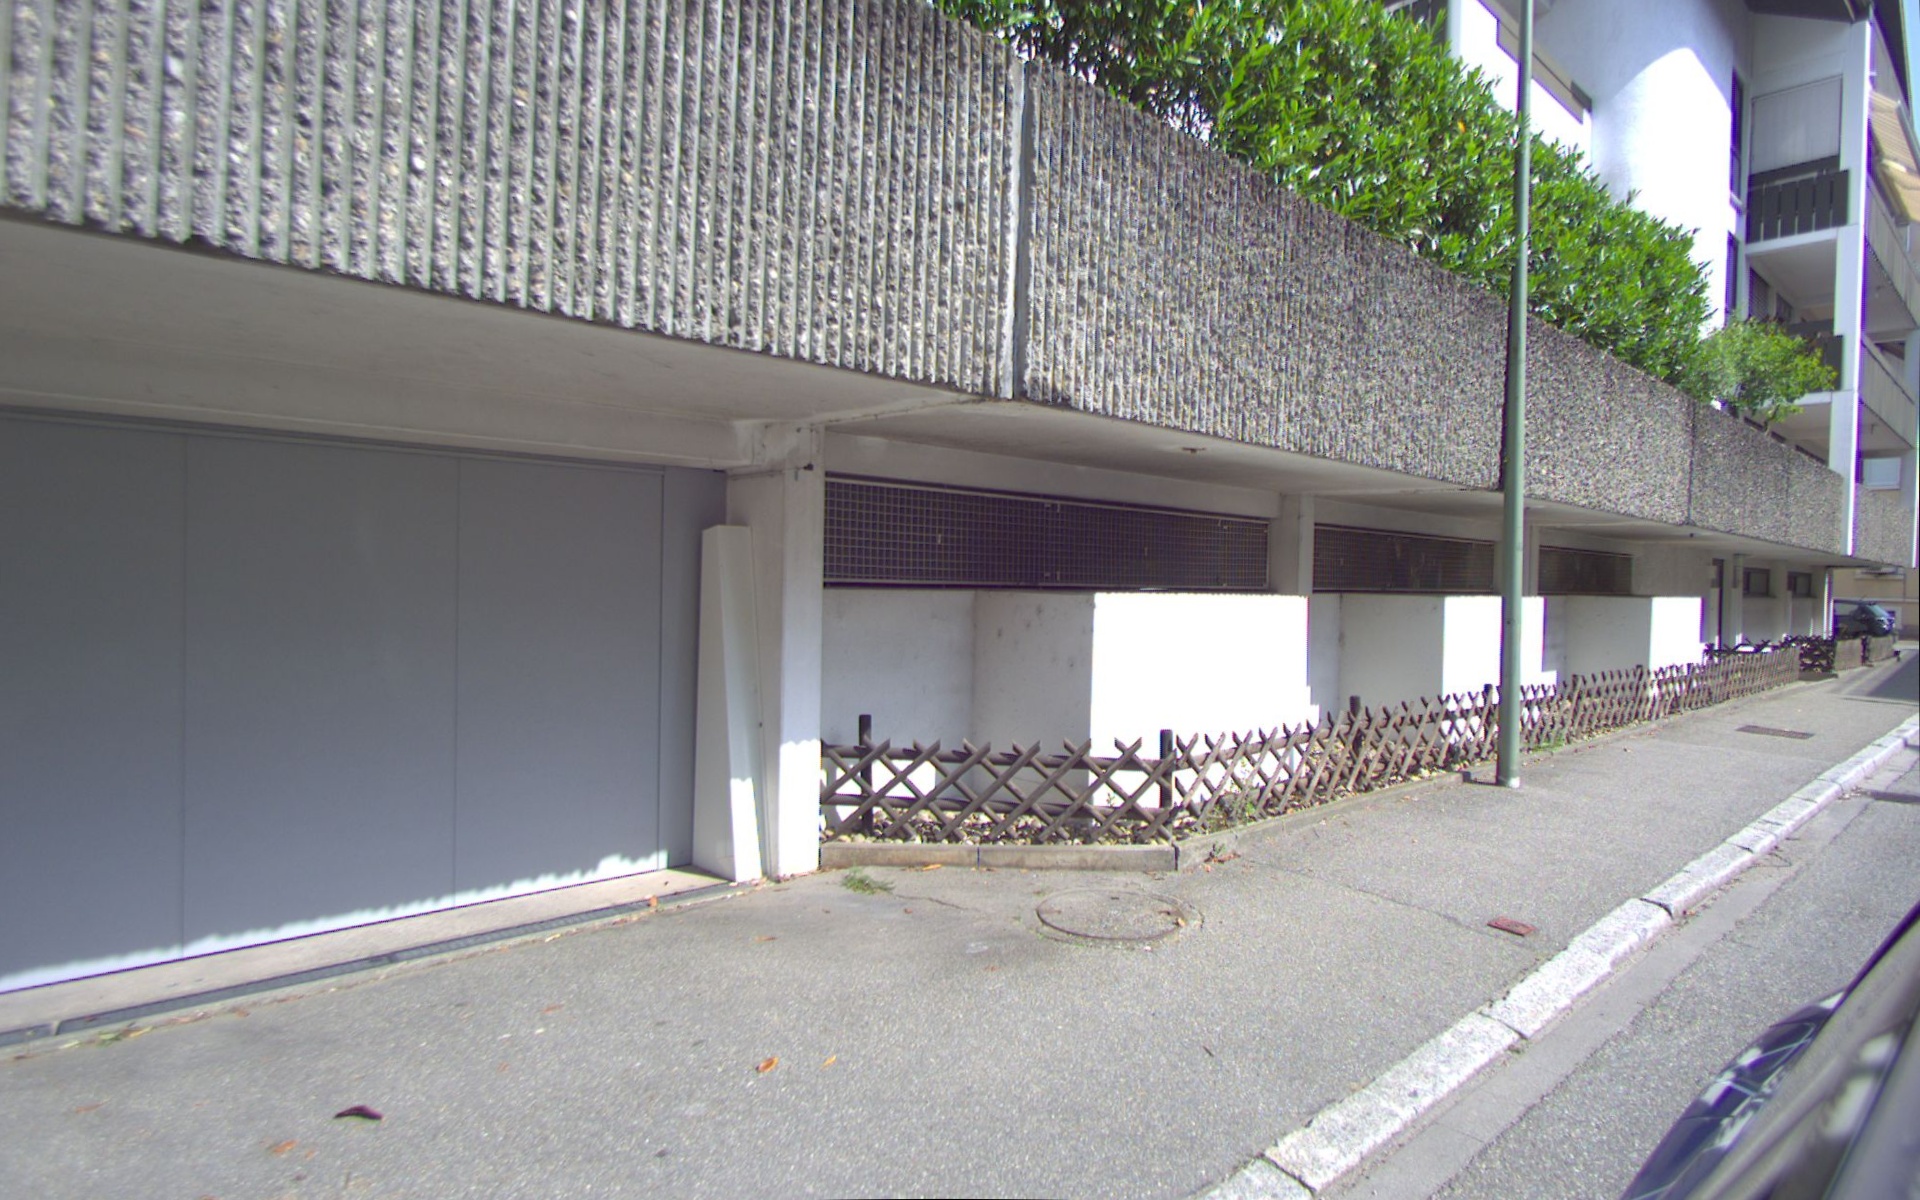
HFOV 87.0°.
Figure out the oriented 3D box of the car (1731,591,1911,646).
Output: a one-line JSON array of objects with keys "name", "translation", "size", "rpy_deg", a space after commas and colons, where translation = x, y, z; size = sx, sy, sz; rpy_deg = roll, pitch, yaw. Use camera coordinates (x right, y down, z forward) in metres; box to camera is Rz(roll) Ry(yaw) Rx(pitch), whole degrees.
[{"name": "car", "translation": [24.857, 0.502, 29.294], "size": [1.671, 1.498, 3.831], "rpy_deg": [1, -1, -43]}]
